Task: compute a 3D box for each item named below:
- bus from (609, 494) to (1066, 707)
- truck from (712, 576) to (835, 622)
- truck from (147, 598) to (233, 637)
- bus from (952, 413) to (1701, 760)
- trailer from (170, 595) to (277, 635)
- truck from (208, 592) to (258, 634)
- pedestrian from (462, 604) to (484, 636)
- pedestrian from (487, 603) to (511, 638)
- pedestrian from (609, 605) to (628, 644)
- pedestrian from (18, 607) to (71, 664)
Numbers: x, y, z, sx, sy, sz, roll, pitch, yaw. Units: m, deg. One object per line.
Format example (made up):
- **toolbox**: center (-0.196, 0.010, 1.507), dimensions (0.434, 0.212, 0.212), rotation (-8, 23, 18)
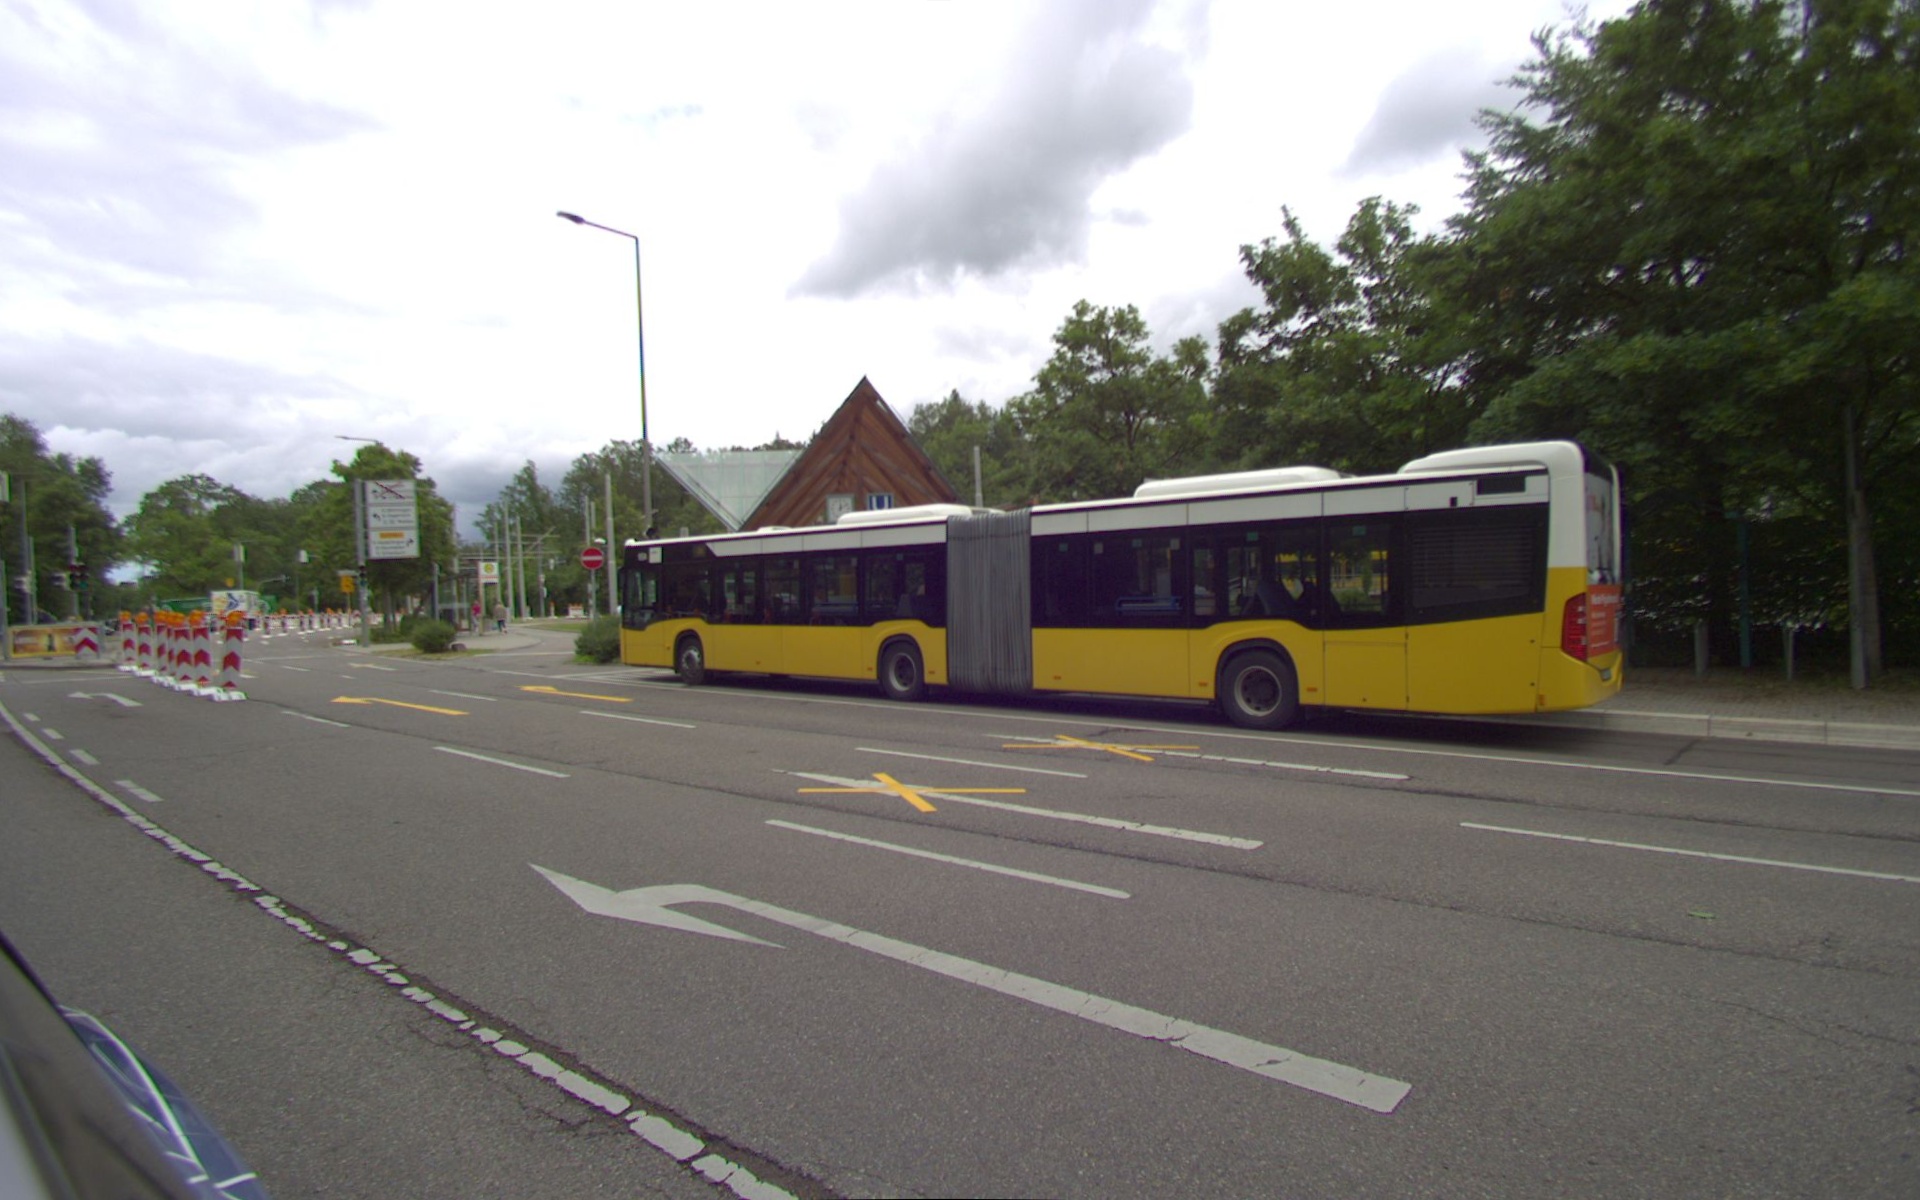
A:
- **bus**: center (-2.820, 0.072, 19.274), dimensions (9.755, 3.150, 2.868), rotation (-1, -1, 41)
- **truck**: center (-10.295, -0.031, 55.930), dimensions (6.263, 2.186, 2.587), rotation (-3, 1, 24)
- **truck**: center (-87.641, 1.955, 115.209), dimensions (8.709, 3.910, 3.762), rotation (-3, 1, 21)
- **bus**: center (4.088, -0.069, 13.141), dimensions (8.690, 3.150, 2.868), rotation (-1, -1, 41)
- **trailer**: center (-82.260, 1.695, 113.031), dimensions (11.784, 3.910, 3.762), rotation (-3, 1, 21)
- **truck**: center (-59.284, 1.052, 82.608), dimensions (2.592, 3.263, 6.225), rotation (0, -1, -29)
- **pedestrian**: center (-25.071, 1.026, 52.107), dimensions (0.779, 1.563, 0.777), rotation (-3, 1, -38)
- **pedestrian**: center (-21.424, 0.946, 47.043), dimensions (0.861, 1.536, 0.770), rotation (-3, 1, -31)
- **pedestrian**: center (-13.683, 0.977, 40.565), dimensions (0.628, 1.516, 0.633), rotation (-3, 1, -21)
- **pedestrian**: center (-30.431, 1.161, 33.655), dimensions (0.757, 1.822, 0.993), rotation (-3, 1, 6)
